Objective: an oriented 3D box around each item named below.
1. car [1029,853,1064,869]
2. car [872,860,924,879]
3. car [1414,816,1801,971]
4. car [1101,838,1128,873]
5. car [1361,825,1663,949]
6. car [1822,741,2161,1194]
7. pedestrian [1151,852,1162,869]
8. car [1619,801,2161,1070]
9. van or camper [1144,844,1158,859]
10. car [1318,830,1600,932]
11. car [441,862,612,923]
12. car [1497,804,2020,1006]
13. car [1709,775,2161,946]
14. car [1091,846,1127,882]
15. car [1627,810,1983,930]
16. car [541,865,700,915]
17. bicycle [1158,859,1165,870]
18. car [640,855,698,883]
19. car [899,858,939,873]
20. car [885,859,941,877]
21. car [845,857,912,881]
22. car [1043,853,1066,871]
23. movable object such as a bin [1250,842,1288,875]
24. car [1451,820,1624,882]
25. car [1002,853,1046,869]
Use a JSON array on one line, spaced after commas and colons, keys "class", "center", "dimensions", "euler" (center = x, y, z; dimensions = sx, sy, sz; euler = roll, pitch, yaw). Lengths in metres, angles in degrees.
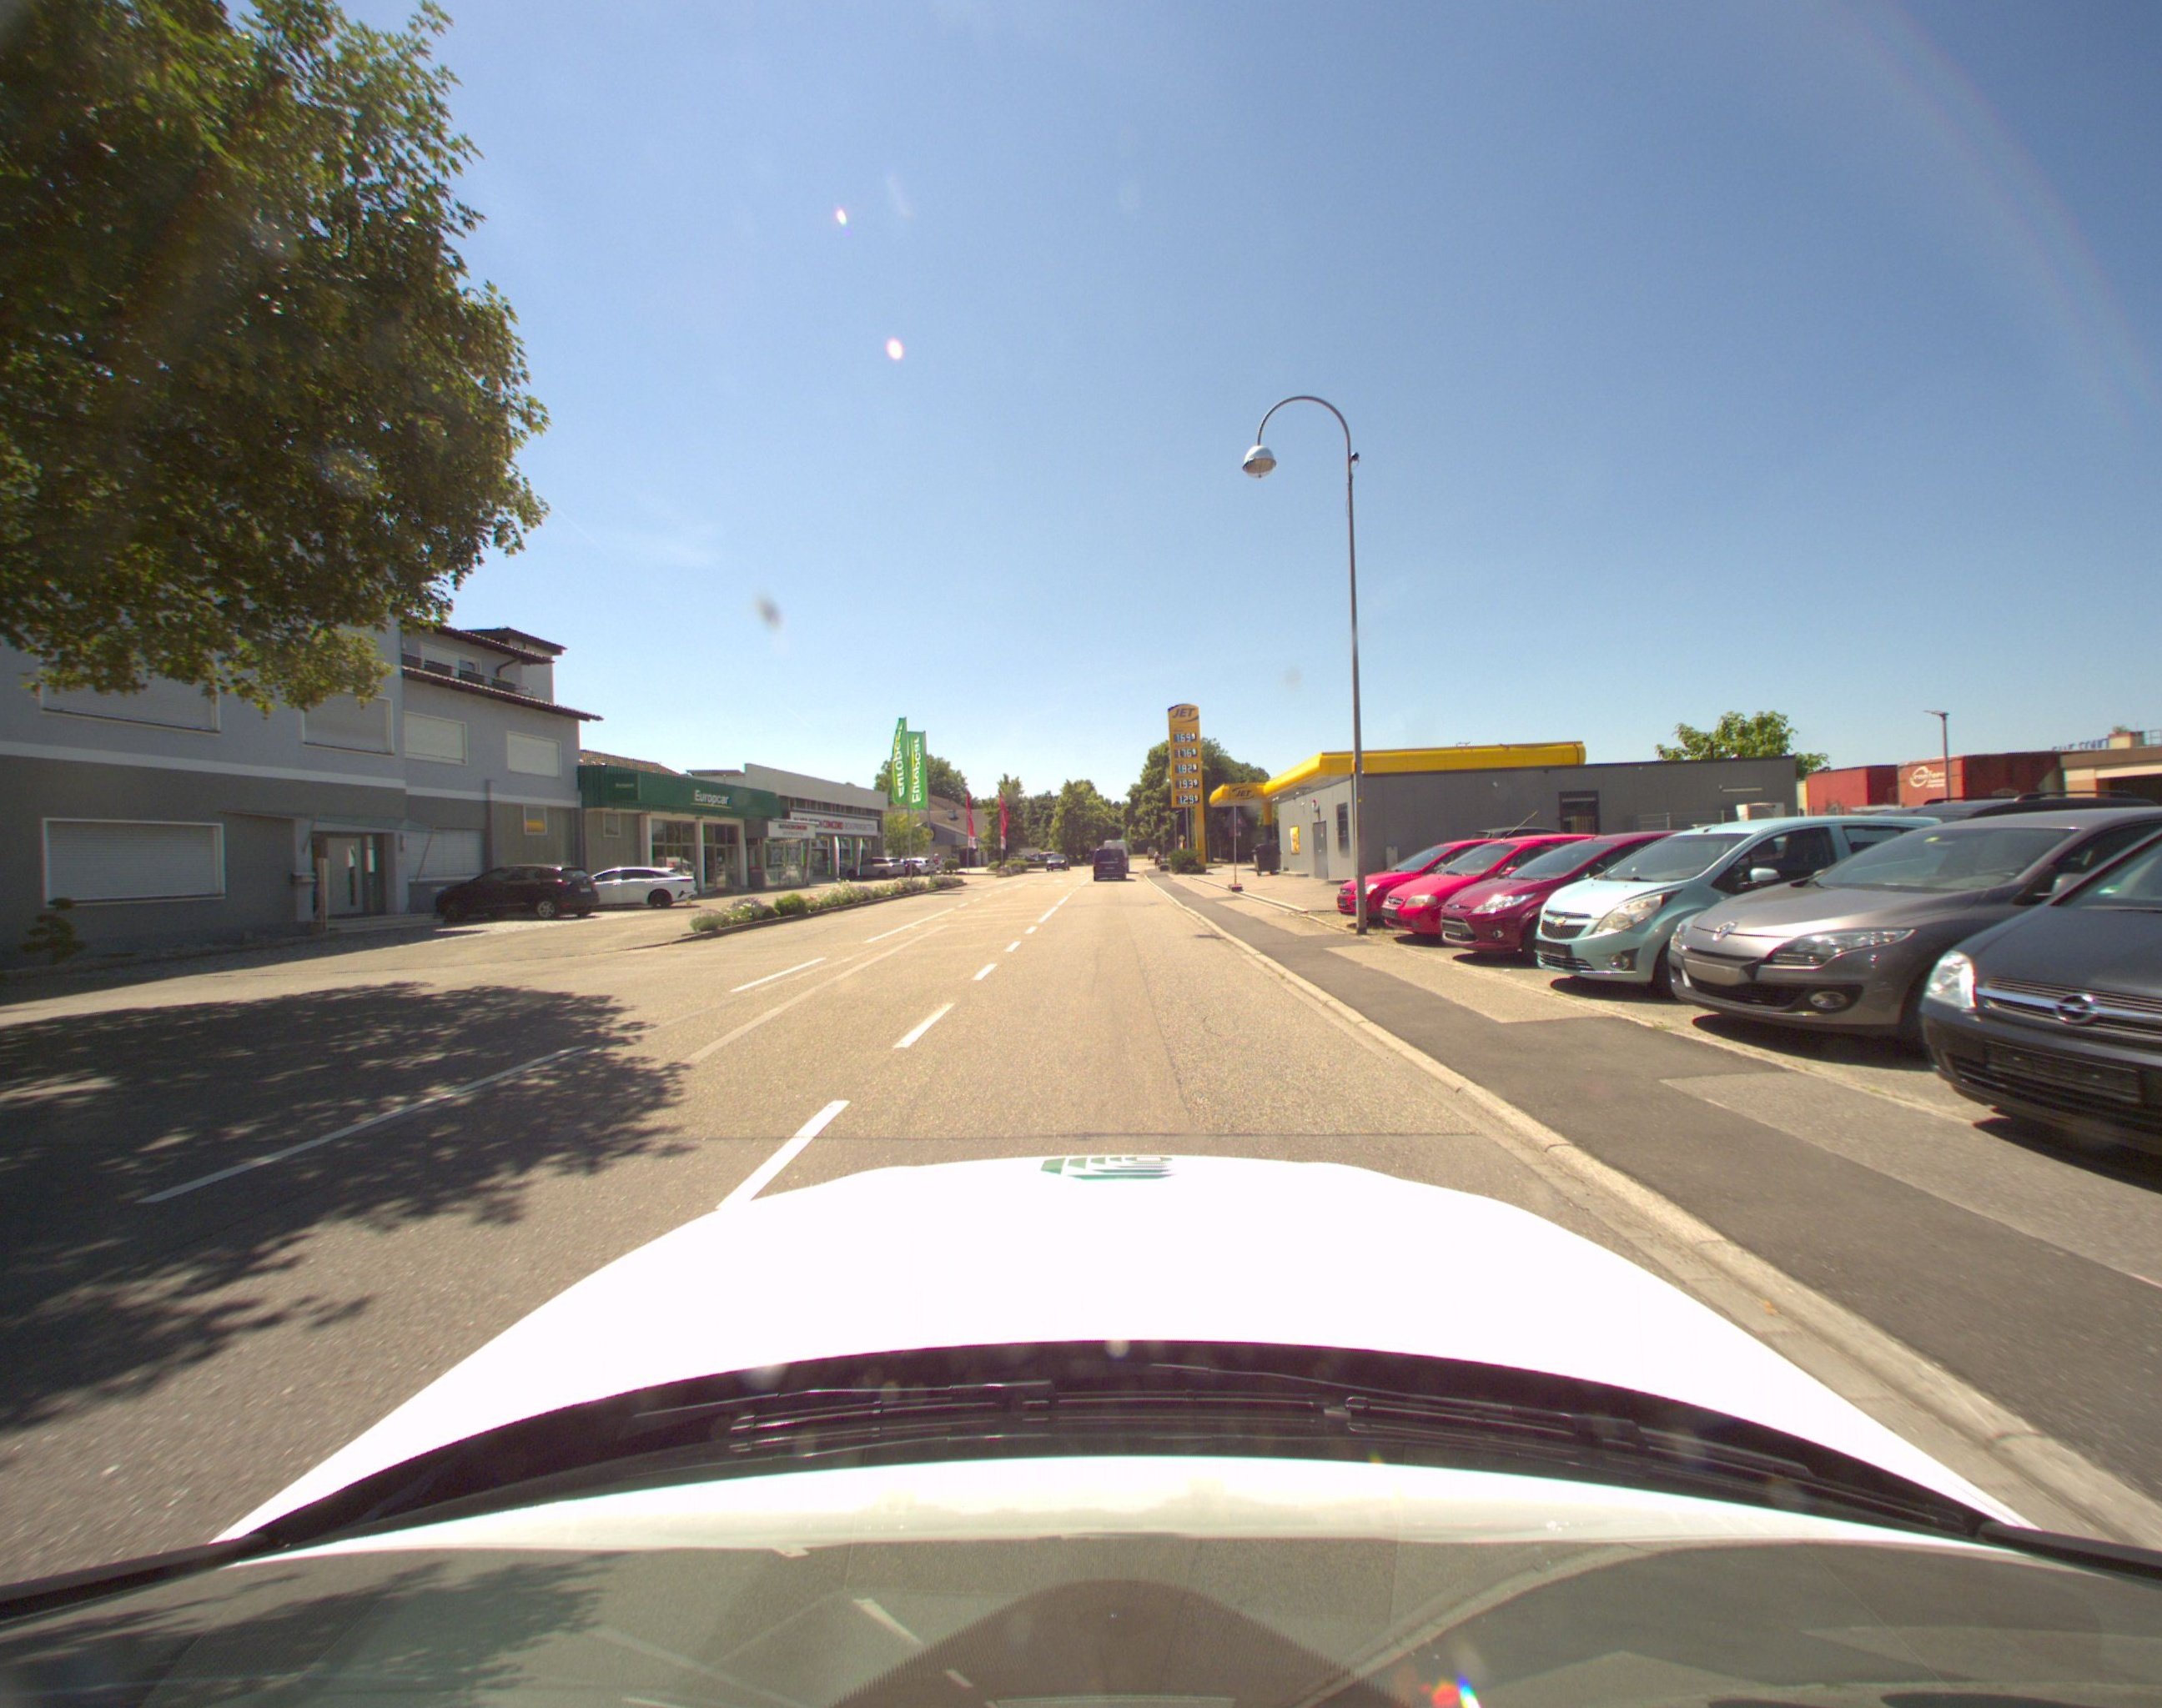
[{"class": "car", "center": [-4.422, 0.880, 105.425], "dimensions": [4.337, 1.980, 1.907], "euler": [-1, -1, 3]}, {"class": "car", "center": [-14.968, 1.249, 66.590], "dimensions": [3.595, 1.474, 2.010], "euler": [-1, 0, 21]}, {"class": "car", "center": [6.351, 0.439, 10.110], "dimensions": [3.675, 1.566, 1.748], "euler": [-3, 0, -2]}, {"class": "car", "center": [2.709, 0.147, 64.656], "dimensions": [2.069, 2.702, 4.670], "euler": [0, 0, 3]}, {"class": "car", "center": [6.423, 0.459, 12.417], "dimensions": [3.674, 1.566, 1.707], "euler": [-3, 0, -2]}, {"class": "car", "center": [5.910, 0.330, 3.498], "dimensions": [3.865, 1.680, 1.762], "euler": [-3, 0, -2]}, {"class": "pedestrian", "center": [6.407, 0.581, 68.903], "dimensions": [0.764, 1.421, 0.870], "euler": [-1, 0, 10]}, {"class": "car", "center": [6.319, 0.448, 5.755], "dimensions": [3.777, 1.509, 1.834], "euler": [-3, 0, 2]}, {"class": "van or camper", "center": [14.240, -0.469, 166.566], "dimensions": [2.621, 2.929, 5.210], "euler": [-1, -1, 2]}, {"class": "car", "center": [6.740, 0.450, 14.881], "dimensions": [4.210, 1.534, 1.958], "euler": [-3, 0, 0]}, {"class": "car", "center": [-15.977, 1.078, 23.610], "dimensions": [3.547, 1.565, 1.970], "euler": [-2, 0, 1]}, {"class": "car", "center": [6.294, 0.433, 7.868], "dimensions": [3.673, 1.566, 1.641], "euler": [-3, 0, -1]}, {"class": "car", "center": [10.912, 0.086, 10.388], "dimensions": [4.328, 1.896, 1.971], "euler": [1, 0, -2]}, {"class": "car", "center": [1.607, 0.562, 47.506], "dimensions": [1.986, 1.952, 5.006], "euler": [0, 0, 1]}, {"class": "car", "center": [11.227, 0.232, 12.849], "dimensions": [4.025, 1.667, 1.783], "euler": [1, 0, 1]}, {"class": "car", "center": [-15.347, 1.151, 27.423], "dimensions": [4.356, 1.439, 1.926], "euler": [-2, 0, -21]}, {"class": "bicycle", "center": [6.798, 0.889, 68.709], "dimensions": [0.375, 0.912, 1.603], "euler": [-1, 0, 11]}, {"class": "car", "center": [-40.084, 1.464, 79.471], "dimensions": [2.270, 2.627, 5.908], "euler": [-1, -1, 5]}, {"class": "car", "center": [-19.439, 1.391, 97.606], "dimensions": [4.295, 1.655, 2.115], "euler": [-1, -1, 2]}, {"class": "car", "center": [-14.282, 1.212, 69.366], "dimensions": [4.150, 1.446, 1.989], "euler": [-1, 0, 18]}, {"class": "car", "center": [-15.317, 1.157, 61.608], "dimensions": [4.492, 1.664, 2.010], "euler": [-1, 0, 20]}, {"class": "car", "center": [-2.442, 0.712, 76.781], "dimensions": [1.755, 1.527, 4.140], "euler": [-3, 0, 3]}, {"class": "movable object such as a bin", "center": [8.777, 0.201, 38.168], "dimensions": [1.428, 1.438, 1.469], "euler": [-3, 0, 2]}, {"class": "car", "center": [13.327, -0.078, 23.999], "dimensions": [3.969, 1.657, 1.950], "euler": [-2, 0, 4]}, {"class": "car", "center": [-6.626, 0.790, 95.325], "dimensions": [4.678, 1.762, 2.104], "euler": [-1, -1, 10]}]
